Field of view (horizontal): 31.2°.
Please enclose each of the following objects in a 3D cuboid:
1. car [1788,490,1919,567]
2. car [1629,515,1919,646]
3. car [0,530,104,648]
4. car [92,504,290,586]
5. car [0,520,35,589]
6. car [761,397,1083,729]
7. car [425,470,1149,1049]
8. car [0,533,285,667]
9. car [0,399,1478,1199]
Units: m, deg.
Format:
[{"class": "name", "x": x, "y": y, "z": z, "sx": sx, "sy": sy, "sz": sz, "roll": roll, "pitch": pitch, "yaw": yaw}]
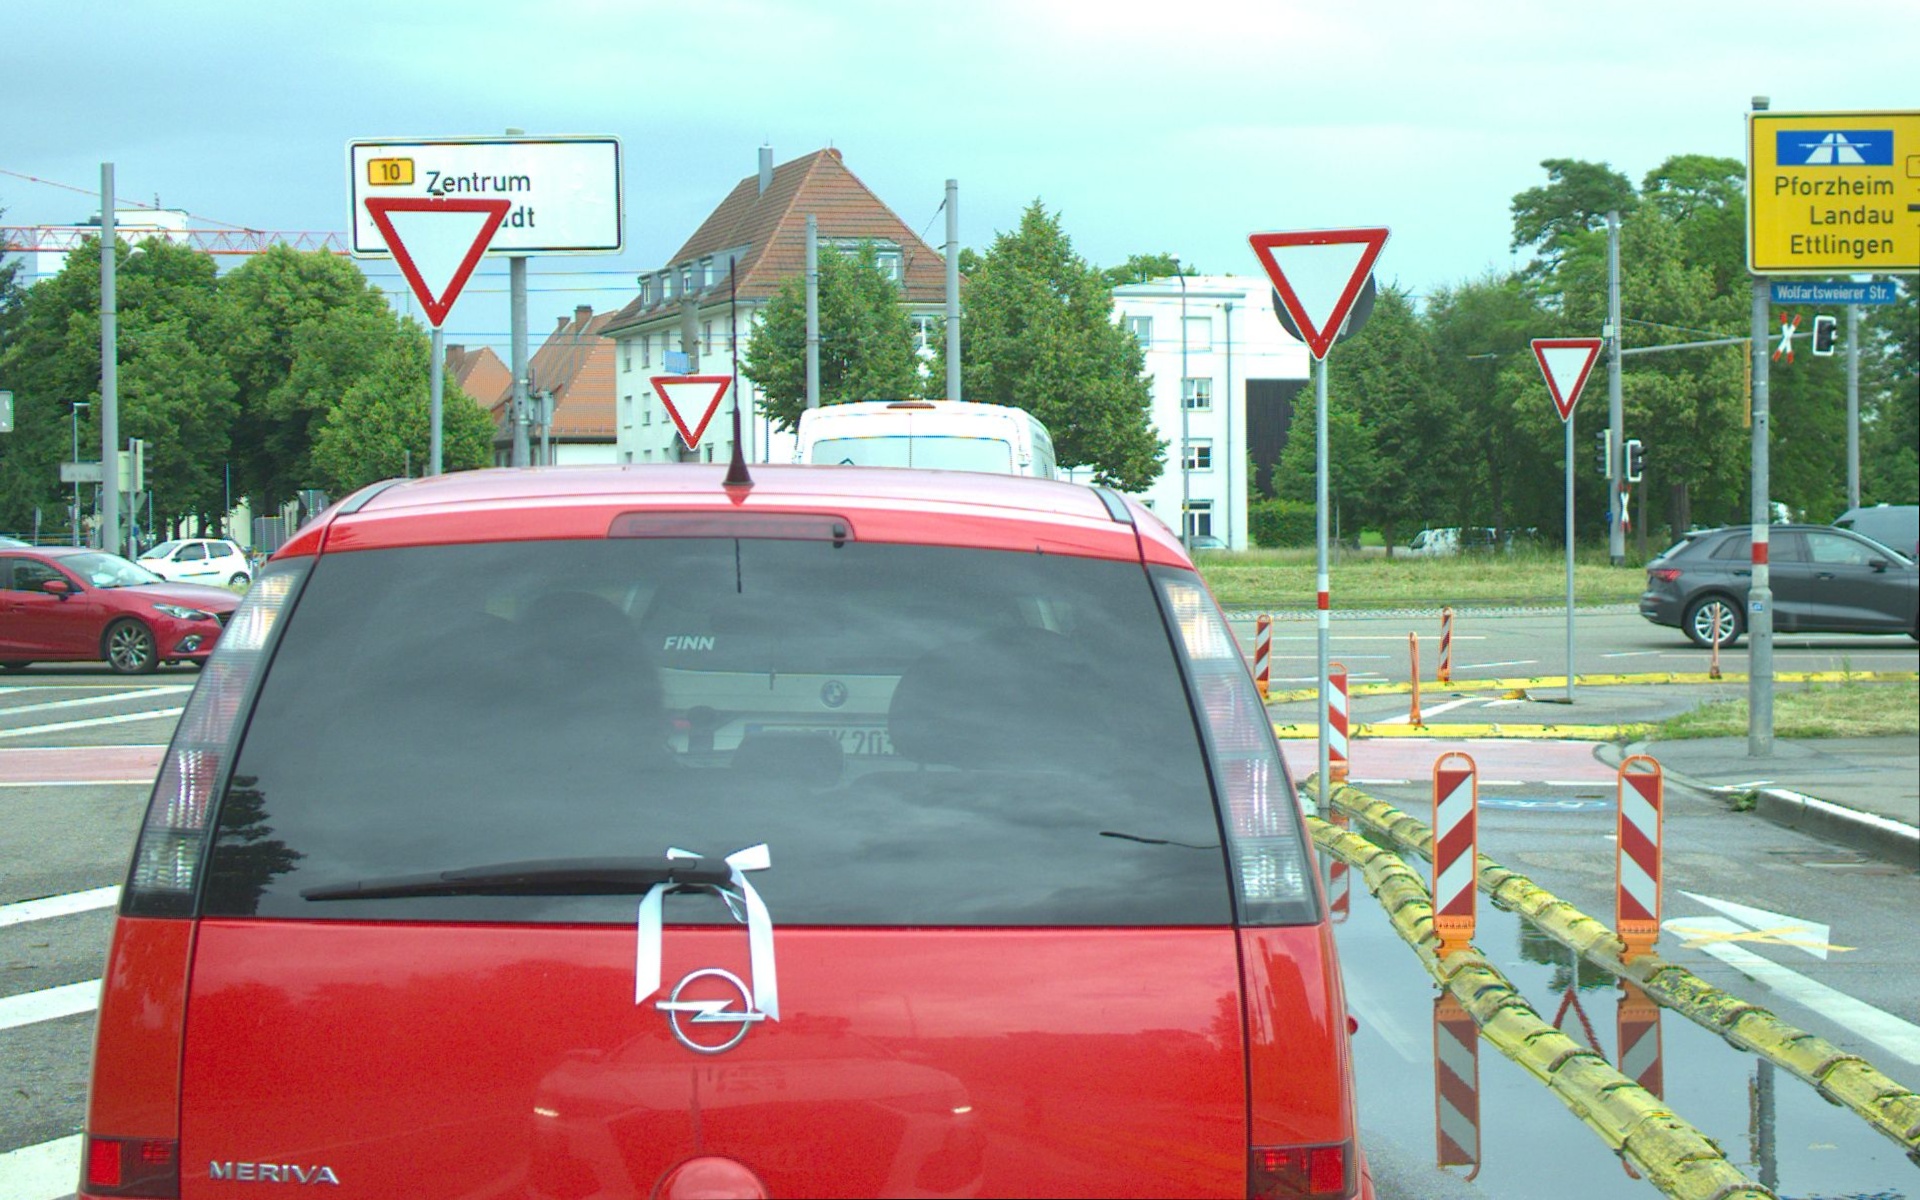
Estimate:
[{"class": "car", "x": 24.628, "y": -1.898, "z": 91.746, "sx": 4.473, "sy": 2.007, "sz": 1.996, "roll": 0, "pitch": 2, "yaw": 39}, {"class": "car", "x": 10.104, "y": -0.247, "z": 40.284, "sx": 4.309, "sy": 1.459, "sz": 2.000, "roll": -1, "pitch": 1, "yaw": 7}, {"class": "car", "x": -13.595, "y": -0.141, "z": 45.343, "sx": 3.988, "sy": 1.503, "sz": 1.999, "roll": -1, "pitch": 1, "yaw": 8}, {"class": "car", "x": -19.341, "y": -1.401, "z": 86.570, "sx": 1.999, "sy": 2.007, "sz": 4.468, "roll": 0, "pitch": 2, "yaw": 45}, {"class": "car", "x": -24.244, "y": -1.047, "z": 80.682, "sx": 1.997, "sy": 1.629, "sz": 4.666, "roll": 0, "pitch": 1, "yaw": 35}, {"class": "car", "x": -0.209, "y": -0.342, "z": 28.967, "sx": 2.195, "sy": 2.531, "sz": 4.961, "roll": 1, "pitch": 1, "yaw": 5}, {"class": "car", "x": -0.526, "y": 0.411, "z": 12.178, "sx": 2.059, "sy": 1.642, "sz": 4.607, "roll": 1, "pitch": 1, "yaw": -1}, {"class": "car", "x": -10.174, "y": -0.016, "z": 39.474, "sx": 4.348, "sy": 1.459, "sz": 1.998, "roll": 0, "pitch": 1, "yaw": 21}, {"class": "car", "x": -0.317, "y": 0.573, "z": 5.479, "sx": 1.673, "sy": 1.635, "sz": 3.627, "roll": 1, "pitch": 1, "yaw": -1}]
